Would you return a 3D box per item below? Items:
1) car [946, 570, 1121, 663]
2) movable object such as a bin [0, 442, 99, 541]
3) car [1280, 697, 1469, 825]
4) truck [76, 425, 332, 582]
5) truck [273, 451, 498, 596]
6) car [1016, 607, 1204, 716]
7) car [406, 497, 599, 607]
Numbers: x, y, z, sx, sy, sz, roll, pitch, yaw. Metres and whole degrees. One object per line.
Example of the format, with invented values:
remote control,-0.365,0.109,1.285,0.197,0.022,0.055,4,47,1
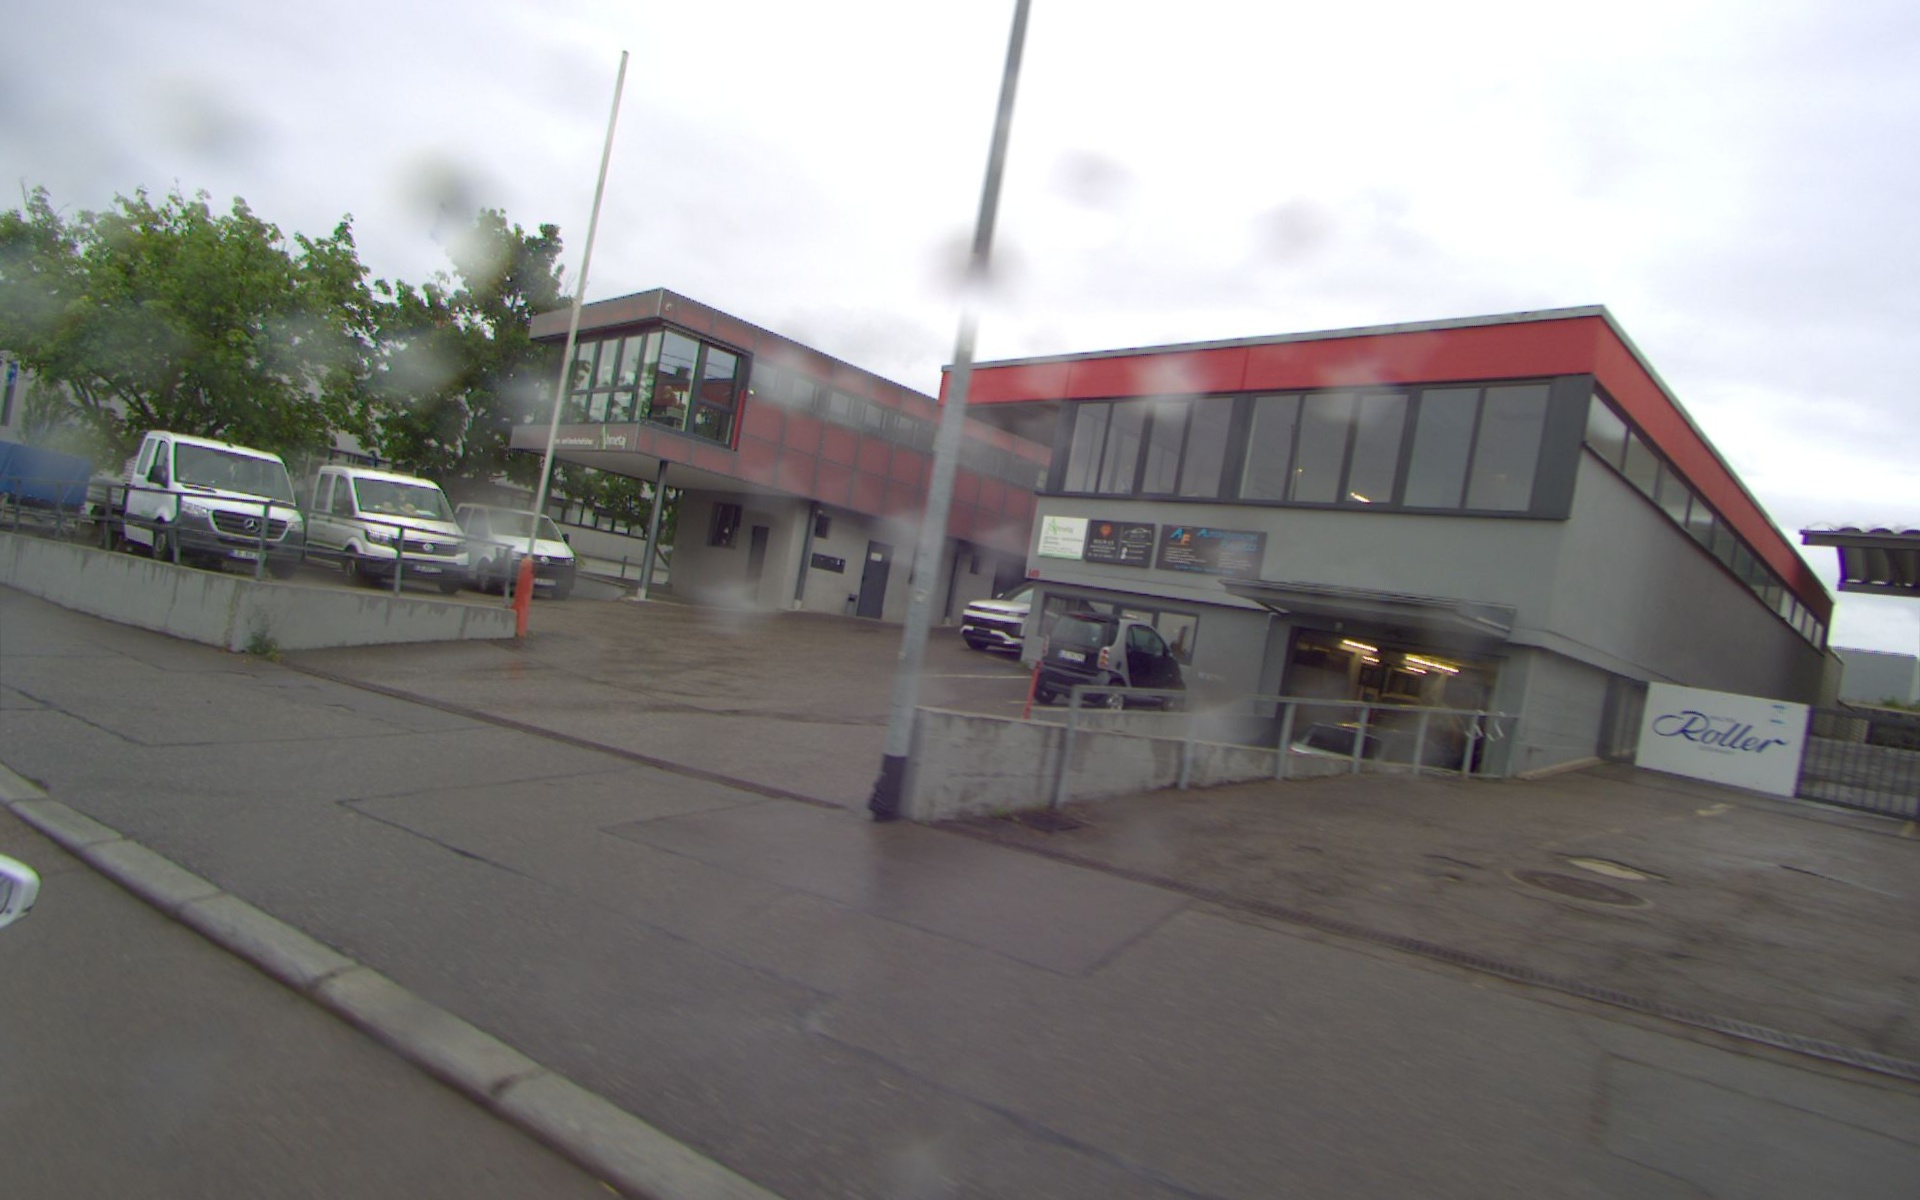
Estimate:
car,1.788,0.418,23.779,3.911,1.761,1.835,6,2,-44
movable object such as a bin,-16.996,-1.985,18.328,1.826,1.518,1.310,7,-1,28
car,6.327,2.376,15.229,1.608,1.513,3.030,6,-1,42
truck,-13.939,-1.775,18.410,5.567,2.240,2.106,6,-2,37
truck,-11.731,-1.561,20.419,4.767,2.369,2.242,6,-2,40
car,2.504,1.033,16.539,1.657,1.464,2.706,6,-1,45
car,-10.646,-1.149,23.217,4.869,2.037,2.055,6,-2,41
